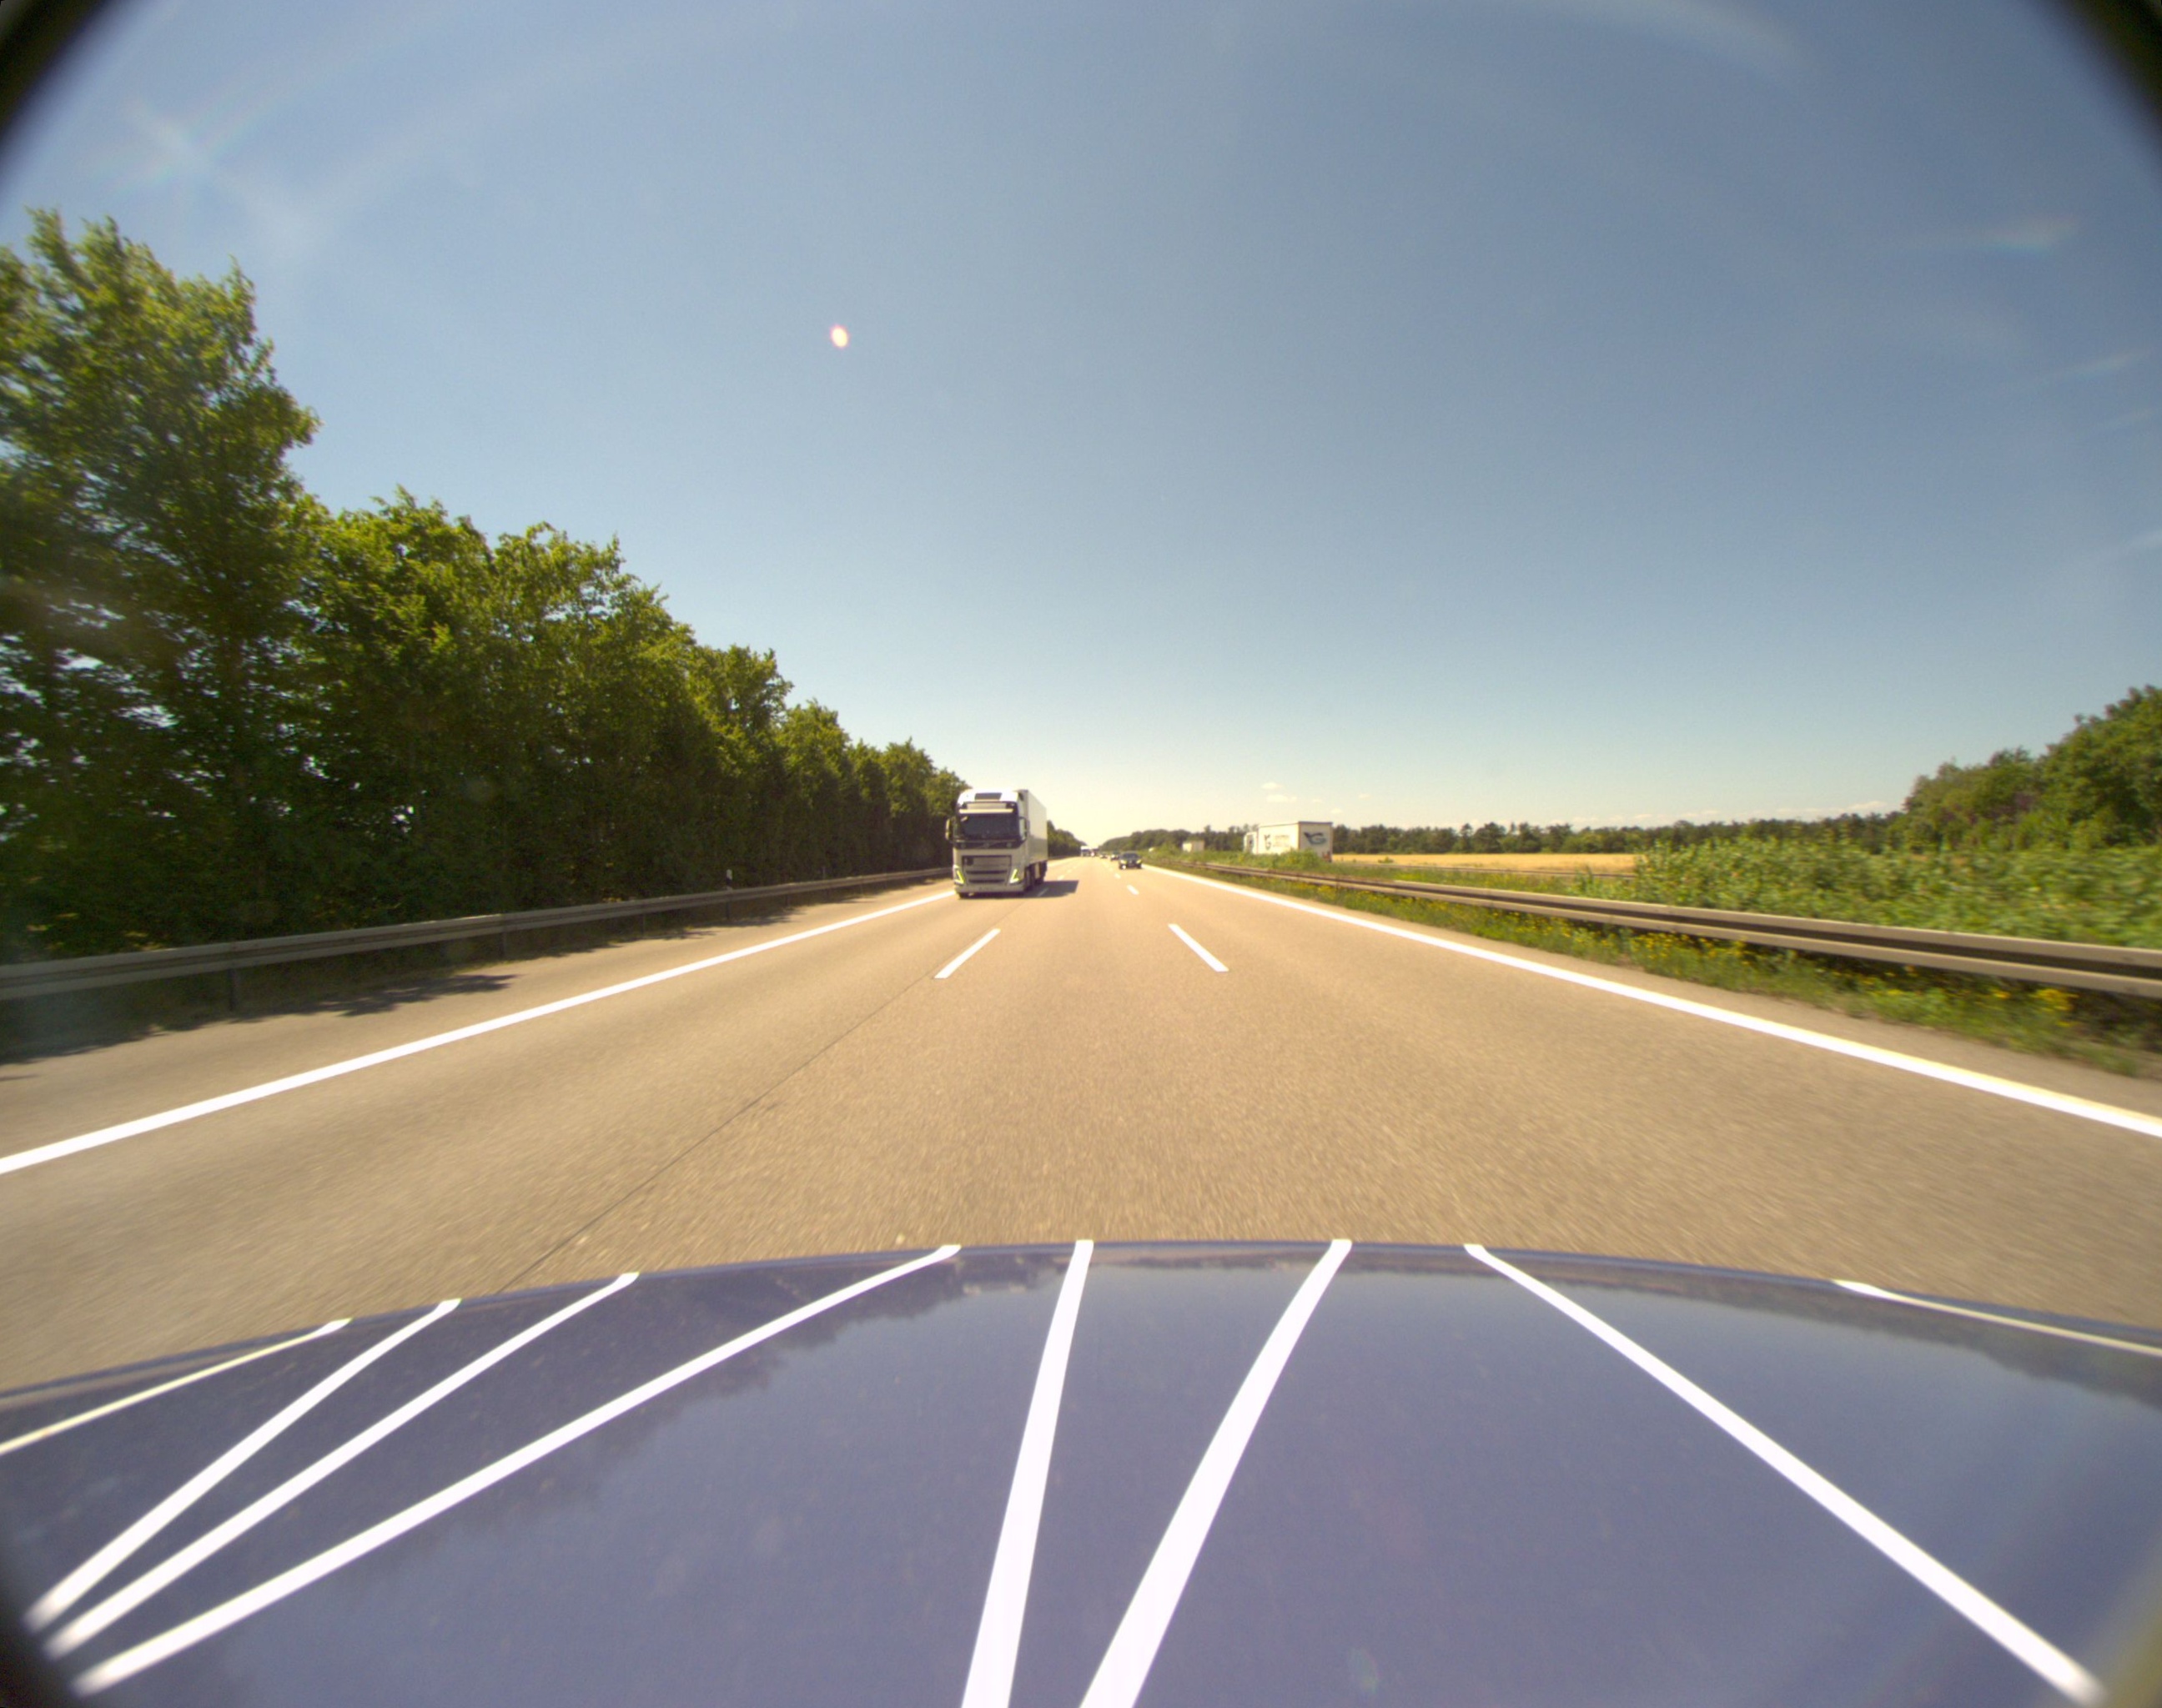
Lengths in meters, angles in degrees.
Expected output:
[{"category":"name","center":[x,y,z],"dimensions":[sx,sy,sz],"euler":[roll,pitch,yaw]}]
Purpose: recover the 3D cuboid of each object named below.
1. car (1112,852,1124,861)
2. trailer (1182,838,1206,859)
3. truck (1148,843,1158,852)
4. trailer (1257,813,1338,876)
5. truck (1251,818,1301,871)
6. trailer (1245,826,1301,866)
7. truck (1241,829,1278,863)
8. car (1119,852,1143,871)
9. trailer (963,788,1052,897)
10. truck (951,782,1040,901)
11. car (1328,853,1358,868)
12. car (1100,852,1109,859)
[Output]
[{"category":"car","center":[5.893,0.365,122.463],"dimensions":[1.811,1.417,4.000],"euler":[-2,1,1]},{"category":"trailer","center":[23.376,-1.249,157.746],"dimensions":[3.066,4.035,13.955],"euler":[-2,1,1]},{"category":"truck","center":[25.765,-2.413,272.187],"dimensions":[2.575,3.105,13.120],"euler":[-2,1,1]},{"category":"trailer","center":[17.569,-0.764,62.972],"dimensions":[2.828,4.500,13.865],"euler":[-2,1,1]},{"category":"truck","center":[17.694,-0.830,69.284],"dimensions":[2.828,4.500,6.538],"euler":[-2,1,1]},{"category":"trailer","center":[22.033,-0.927,88.081],"dimensions":[2.962,4.035,14.324],"euler":[-2,1,1]},{"category":"truck","center":[22.142,-0.985,94.541],"dimensions":[2.959,4.039,6.538],"euler":[-2,1,1]},{"category":"car","center":[4.296,0.646,66.065],"dimensions":[1.811,1.459,4.000],"euler":[-2,1,1]},{"category":"trailer","center":[-3.056,-0.520,35.856],"dimensions":[2.476,4.039,13.879],"euler":[-2,1,1]},{"category":"truck","center":[-3.164,-0.459,29.668],"dimensions":[2.476,4.039,6.319],"euler":[-2,1,1]},{"category":"car","center":[27.539,0.695,79.987],"dimensions":[1.811,1.417,4.000],"euler":[-2,1,1]},{"category":"car","center":[5.457,0.339,175.883],"dimensions":[1.811,1.417,4.000],"euler":[-2,1,1]}]
